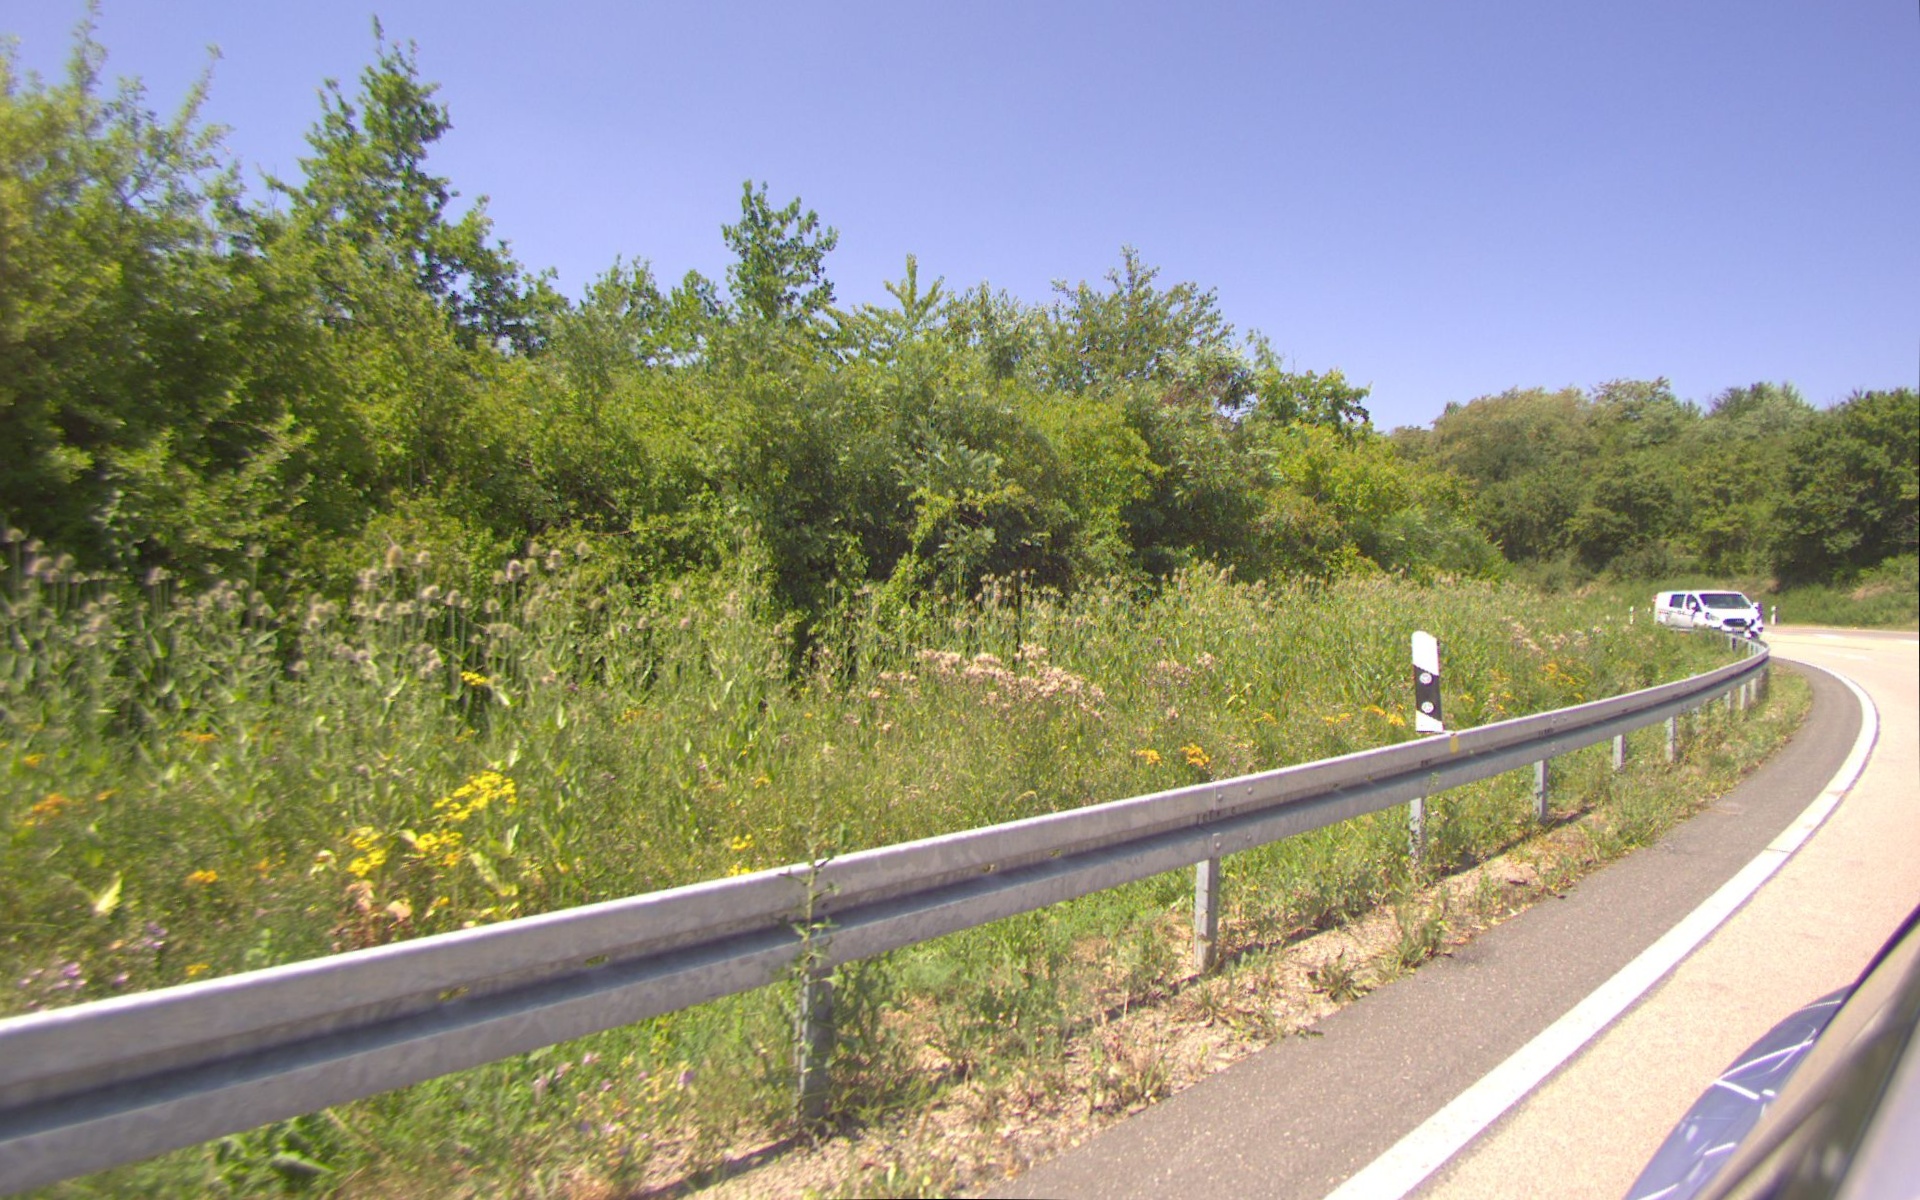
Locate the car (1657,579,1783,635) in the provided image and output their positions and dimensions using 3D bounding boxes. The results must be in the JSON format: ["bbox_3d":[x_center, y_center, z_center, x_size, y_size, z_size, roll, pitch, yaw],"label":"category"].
[{"bbox_3d":[29.404,0.232,39.369,2.033,2.039,5.021,-1,0,13],"label":"car"}]
